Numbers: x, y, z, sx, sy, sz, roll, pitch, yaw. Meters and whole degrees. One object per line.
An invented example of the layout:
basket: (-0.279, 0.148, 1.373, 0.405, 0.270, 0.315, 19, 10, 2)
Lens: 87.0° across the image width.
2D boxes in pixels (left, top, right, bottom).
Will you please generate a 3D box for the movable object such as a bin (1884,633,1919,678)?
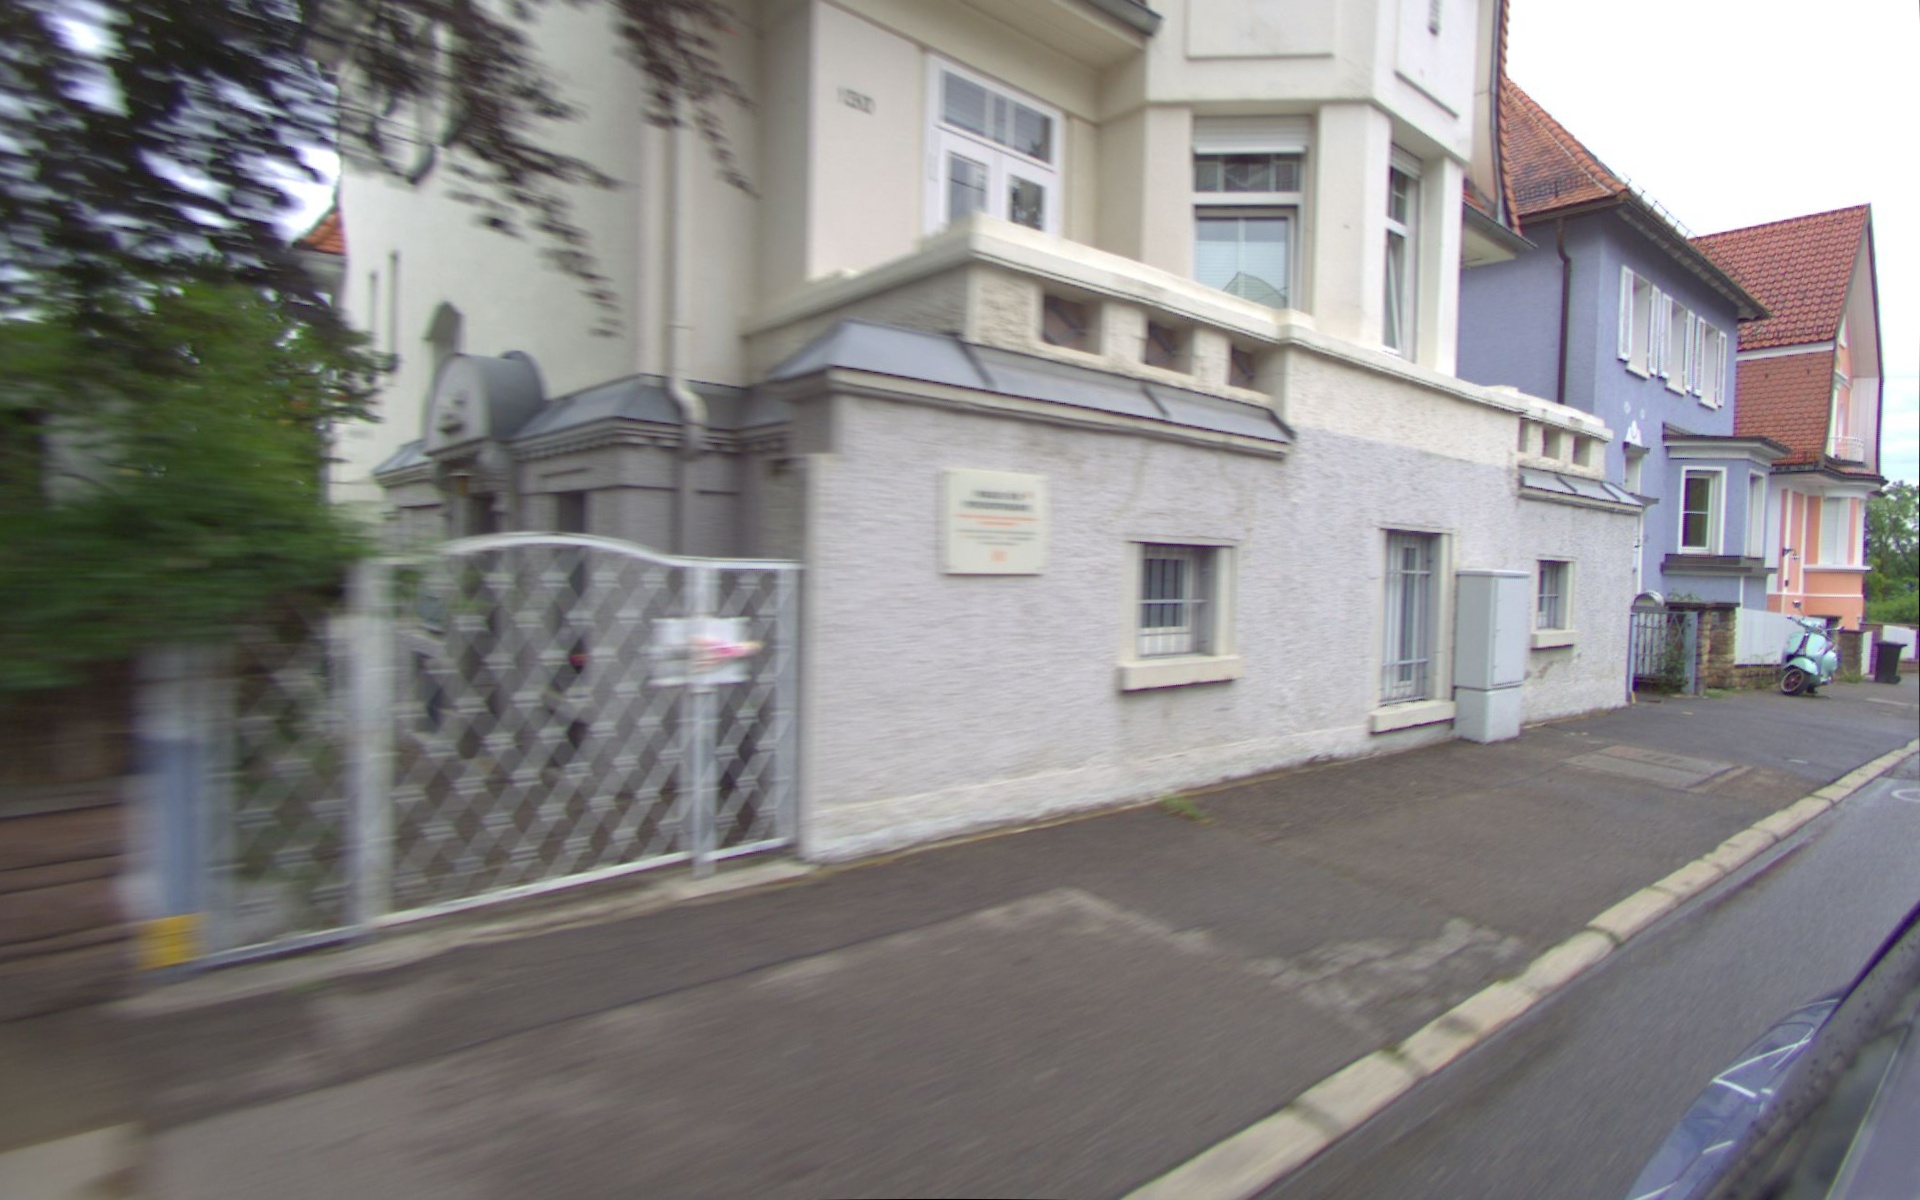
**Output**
movable object such as a bin: (20.827, 1.222, 22.335, 0.480, 0.929, 0.533, 2, 3, -42)

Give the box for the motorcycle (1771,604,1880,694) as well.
motorcycle: (13.658, 0.761, 15.952, 2.112, 1.240, 0.696, 2, 7, -36)
